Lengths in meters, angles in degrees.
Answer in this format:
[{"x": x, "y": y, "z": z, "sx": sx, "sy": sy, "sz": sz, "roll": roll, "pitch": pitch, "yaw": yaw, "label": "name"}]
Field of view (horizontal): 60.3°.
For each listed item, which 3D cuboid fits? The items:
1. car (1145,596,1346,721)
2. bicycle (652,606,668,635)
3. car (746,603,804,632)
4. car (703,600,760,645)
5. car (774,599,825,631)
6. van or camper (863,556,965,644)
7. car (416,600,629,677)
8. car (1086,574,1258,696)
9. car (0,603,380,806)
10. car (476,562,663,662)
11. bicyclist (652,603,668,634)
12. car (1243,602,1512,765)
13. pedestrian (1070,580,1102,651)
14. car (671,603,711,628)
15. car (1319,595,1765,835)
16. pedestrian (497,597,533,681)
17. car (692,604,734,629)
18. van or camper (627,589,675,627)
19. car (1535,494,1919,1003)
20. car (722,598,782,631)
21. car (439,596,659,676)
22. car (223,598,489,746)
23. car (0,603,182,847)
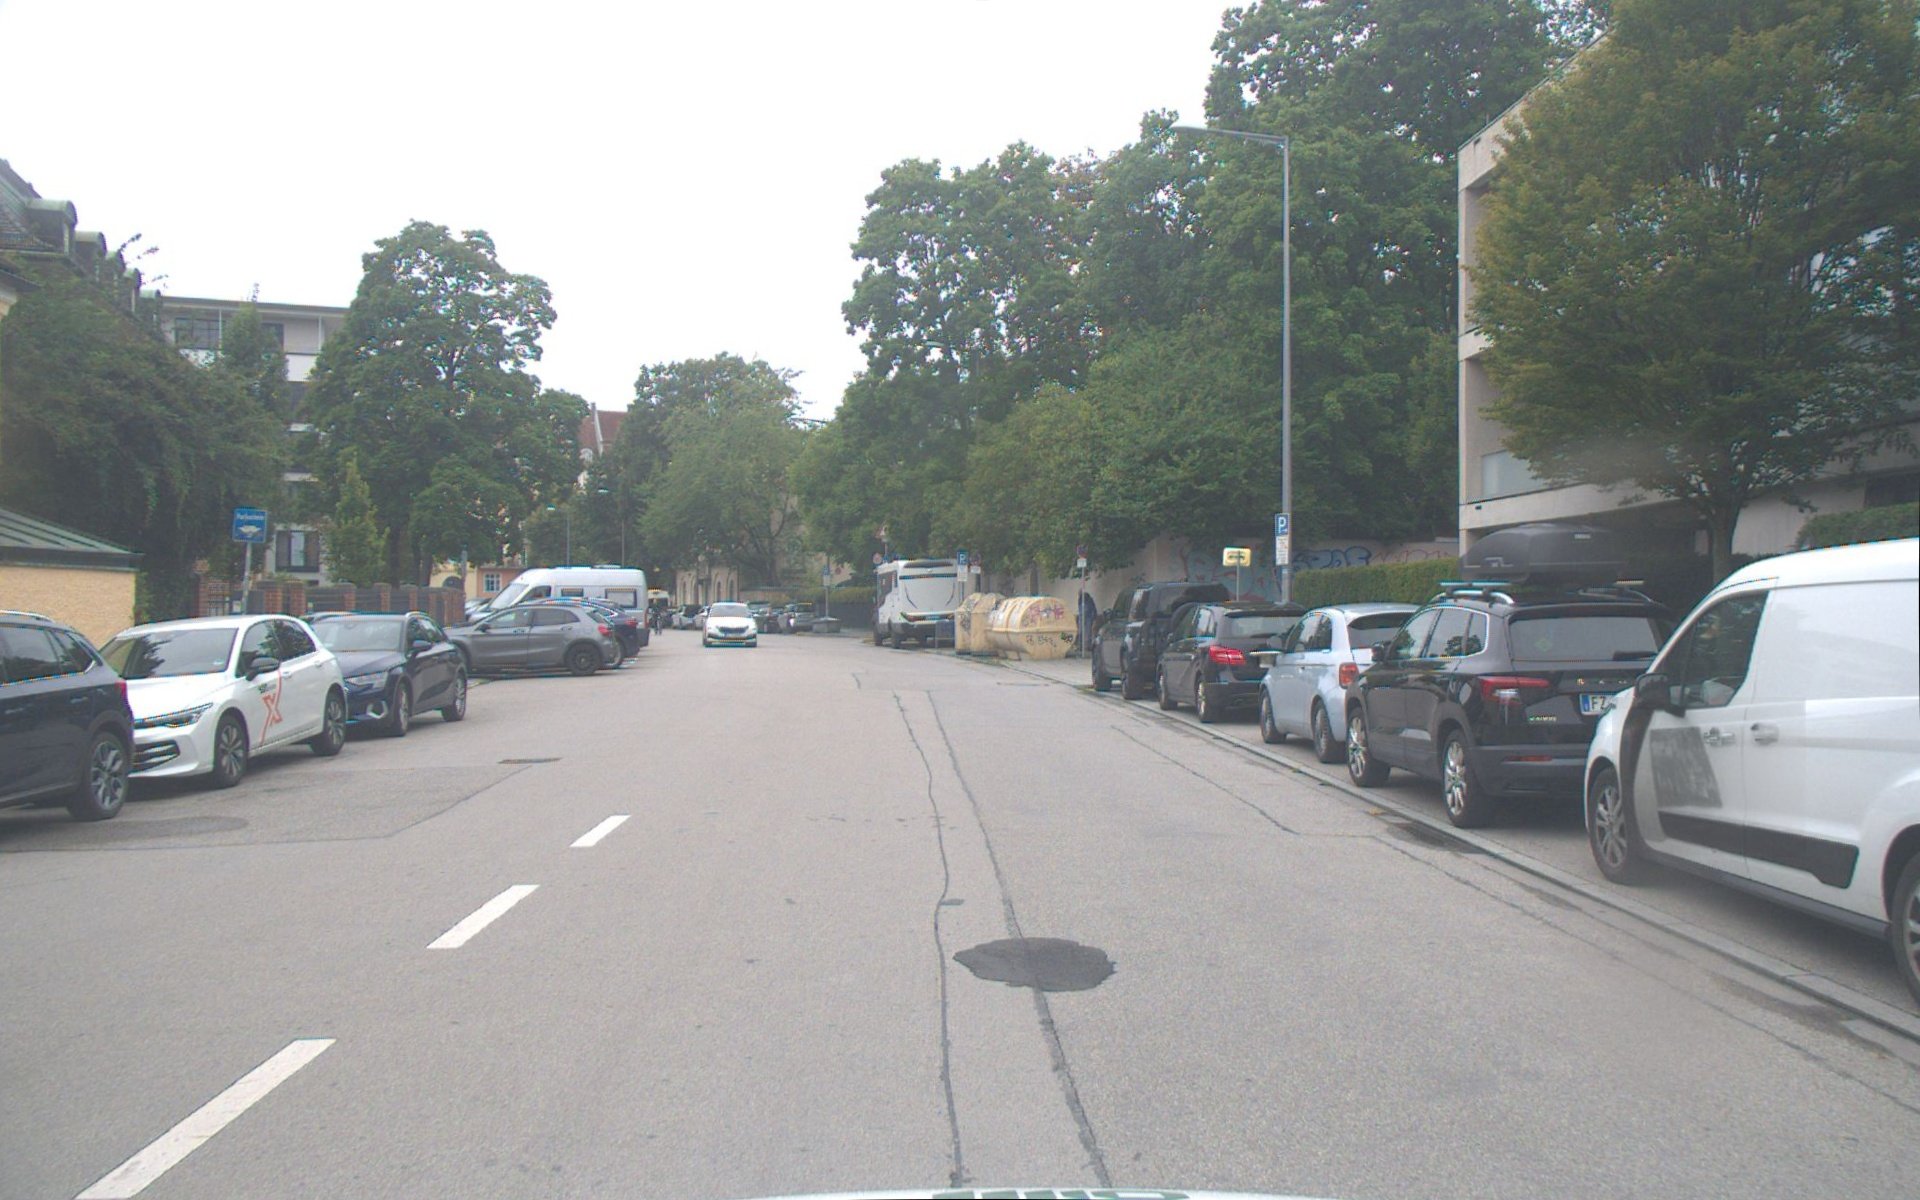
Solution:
[{"x": 3.867, "y": 0.732, "z": 23.197, "sx": 1.713, "sy": 1.566, "sz": 4.565, "roll": 0, "pitch": 0, "yaw": -4, "label": "car"}, {"x": -13.771, "y": 0.931, "z": 75.951, "sx": 0.693, "sy": 1.328, "sz": 2.113, "roll": 0, "pitch": 0, "yaw": -10, "label": "bicycle"}, {"x": -9.958, "y": 0.924, "z": 88.770, "sx": 1.853, "sy": 1.452, "sz": 4.189, "roll": -2, "pitch": 0, "yaw": -25, "label": "car"}, {"x": -7.768, "y": 0.746, "z": 56.515, "sx": 1.738, "sy": 1.501, "sz": 4.129, "roll": 0, "pitch": 0, "yaw": -6, "label": "car"}, {"x": -8.260, "y": 0.785, "z": 85.026, "sx": 1.717, "sy": 1.563, "sz": 2.923, "roll": -2, "pitch": 0, "yaw": -25, "label": "car"}, {"x": -1.762, "y": 0.006, "z": 59.593, "sx": 2.234, "sy": 2.957, "sz": 7.251, "roll": 0, "pitch": 0, "yaw": -13, "label": "van or camper"}, {"x": -9.247, "y": 0.803, "z": 35.091, "sx": 4.260, "sy": 1.557, "sz": 1.925, "roll": 0, "pitch": -1, "yaw": -16, "label": "car"}, {"x": 3.535, "y": 0.581, "z": 28.555, "sx": 1.949, "sy": 1.904, "sz": 5.073, "roll": 1, "pitch": -1, "yaw": -4, "label": "car"}, {"x": -7.208, "y": 0.857, "z": 15.757, "sx": 1.808, "sy": 1.561, "sz": 4.520, "roll": -3, "pitch": 0, "yaw": -2, "label": "car"}, {"x": -10.809, "y": 0.297, "z": 45.893, "sx": 4.586, "sy": 2.608, "sz": 2.206, "roll": -1, "pitch": 1, "yaw": -36, "label": "car"}, {"x": -13.771, "y": 0.846, "z": 75.993, "sx": 0.684, "sy": 1.376, "sz": 0.928, "roll": 0, "pitch": 0, "yaw": -9, "label": "bicyclist"}, {"x": 4.263, "y": 0.788, "z": 17.488, "sx": 1.713, "sy": 1.506, "sz": 3.886, "roll": 0, "pitch": 0, "yaw": -3, "label": "car"}, {"x": 3.598, "y": 0.446, "z": 47.416, "sx": 0.781, "sy": 2.020, "sz": 0.629, "roll": 0, "pitch": 0, "yaw": -12, "label": "pedestrian"}, {"x": -17.336, "y": 0.990, "z": 106.542, "sx": 1.683, "sy": 1.564, "sz": 4.212, "roll": -2, "pitch": 0, "yaw": -21, "label": "car"}, {"x": 4.224, "y": 0.731, "z": 12.869, "sx": 1.712, "sy": 1.506, "sz": 4.596, "roll": 0, "pitch": 0, "yaw": -2, "label": "car"}, {"x": -9.121, "y": 0.788, "z": 33.912, "sx": 0.579, "sy": 1.676, "sz": 0.713, "roll": -2, "pitch": 0, "yaw": -10, "label": "pedestrian"}, {"x": -15.239, "y": 1.000, "z": 101.886, "sx": 1.661, "sy": 1.466, "sz": 3.974, "roll": -1, "pitch": -1, "yaw": -21, "label": "car"}, {"x": -22.105, "y": 0.596, "z": 118.180, "sx": 2.162, "sy": 2.595, "sz": 5.688, "roll": -2, "pitch": 0, "yaw": -23, "label": "van or camper"}, {"x": 4.459, "y": 0.558, "z": 7.724, "sx": 1.785, "sy": 1.893, "sz": 4.897, "roll": 1, "pitch": 0, "yaw": -1, "label": "car"}, {"x": -11.755, "y": 0.786, "z": 93.018, "sx": 1.968, "sy": 1.741, "sz": 4.846, "roll": -2, "pitch": 0, "yaw": -25, "label": "car"}, {"x": -9.368, "y": 0.787, "z": 37.852, "sx": 4.477, "sy": 1.621, "sz": 1.940, "roll": -2, "pitch": 0, "yaw": -36, "label": "car"}, {"x": -7.360, "y": 0.795, "z": 20.671, "sx": 1.808, "sy": 1.561, "sz": 4.559, "roll": -3, "pitch": 0, "yaw": -3, "label": "car"}, {"x": -7.077, "y": 0.845, "z": 10.939, "sx": 1.808, "sy": 1.562, "sz": 4.439, "roll": -3, "pitch": 0, "yaw": -2, "label": "car"}]
